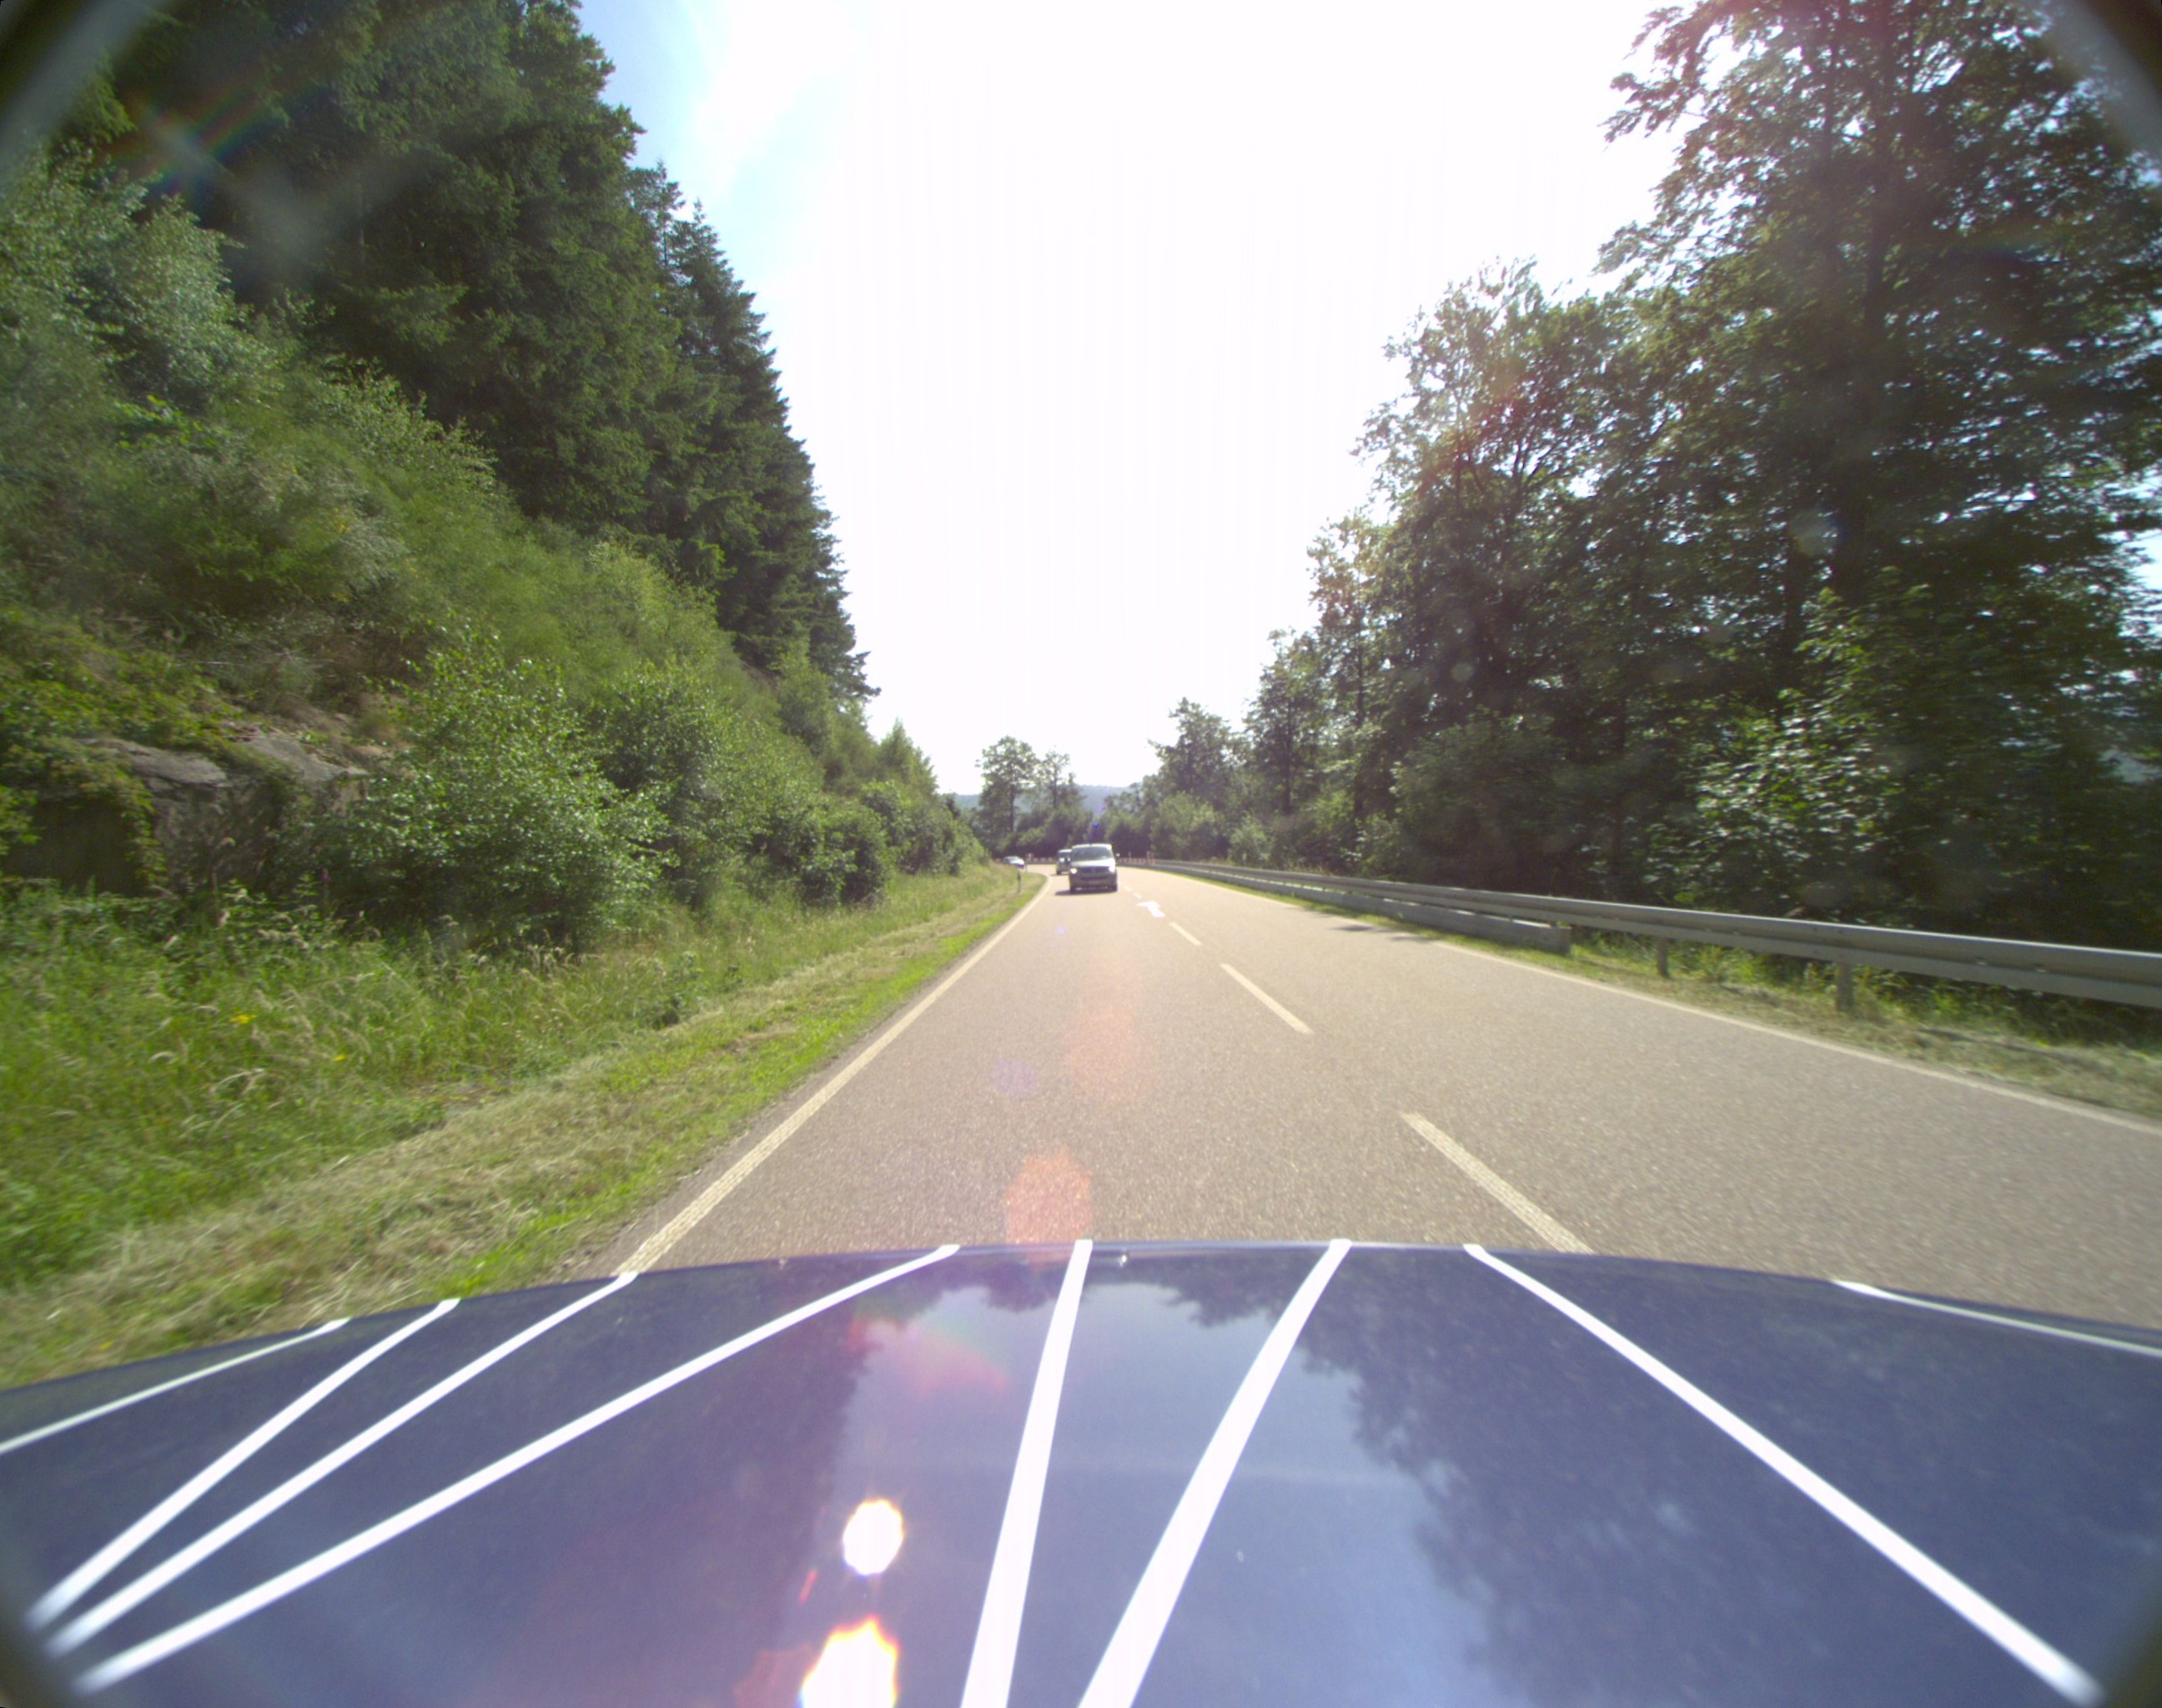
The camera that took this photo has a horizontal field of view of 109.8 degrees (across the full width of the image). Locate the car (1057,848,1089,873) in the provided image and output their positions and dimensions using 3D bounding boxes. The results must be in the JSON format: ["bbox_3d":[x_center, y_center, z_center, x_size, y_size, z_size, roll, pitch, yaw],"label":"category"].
[{"bbox_3d":[-0.696,0.463,59.554,2.138,1.825,4.720,-2,1,-5],"label":"car"}]

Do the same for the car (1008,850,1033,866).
[{"bbox_3d":[-6.888,0.455,85.862,2.001,1.718,3.994,-2,0,-17],"label":"car"}]

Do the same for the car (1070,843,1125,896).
[{"bbox_3d":[0.597,0.584,31.322,1.991,1.899,4.759,-3,0,-1],"label":"car"}]
